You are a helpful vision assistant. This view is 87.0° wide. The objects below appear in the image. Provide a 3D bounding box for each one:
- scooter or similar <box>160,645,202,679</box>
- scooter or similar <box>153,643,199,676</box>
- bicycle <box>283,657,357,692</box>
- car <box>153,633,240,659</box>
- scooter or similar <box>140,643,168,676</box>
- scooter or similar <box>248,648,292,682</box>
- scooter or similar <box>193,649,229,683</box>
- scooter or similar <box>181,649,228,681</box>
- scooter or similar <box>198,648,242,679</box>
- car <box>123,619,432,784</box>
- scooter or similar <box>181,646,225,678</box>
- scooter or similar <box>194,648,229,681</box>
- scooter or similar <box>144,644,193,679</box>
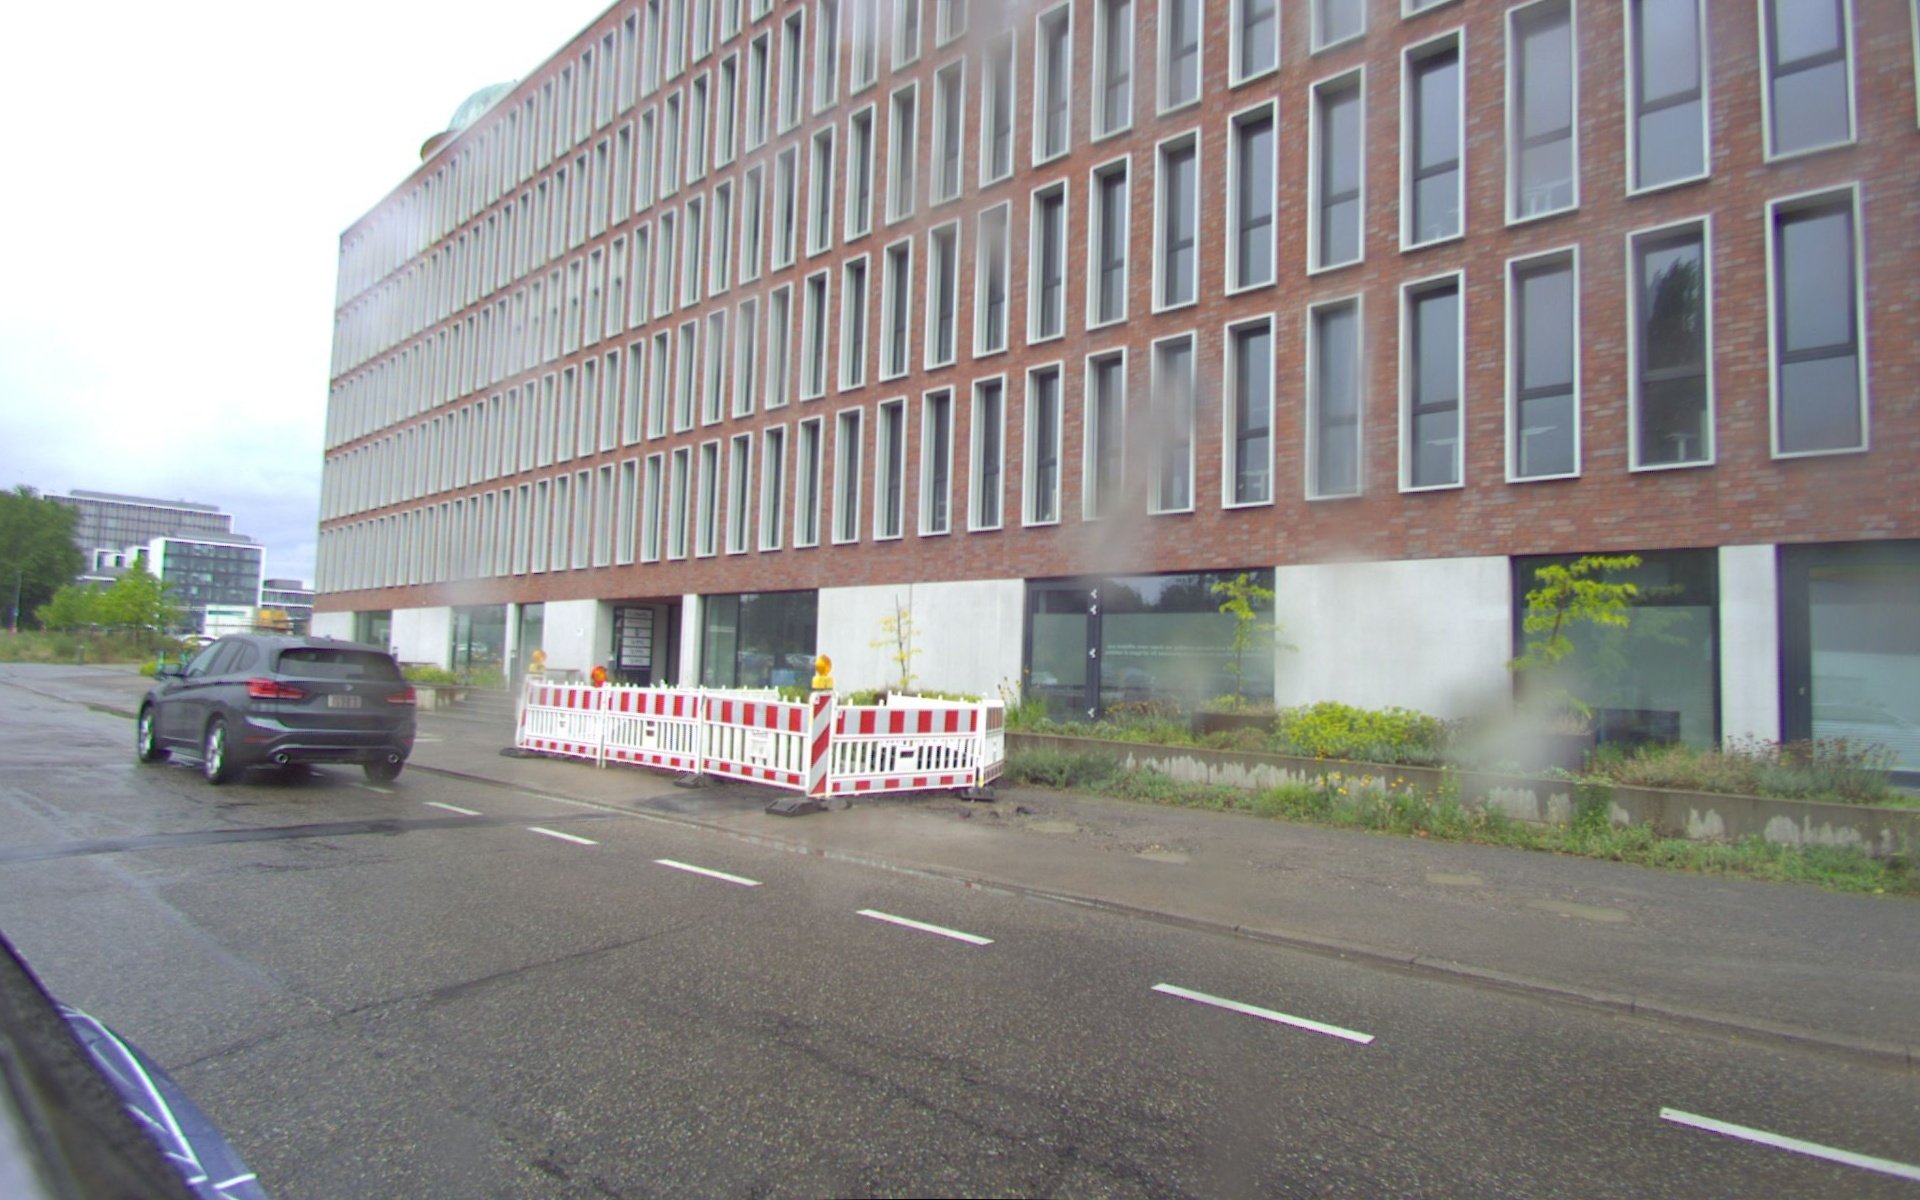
[{"bbox_3d":[-30.333,2.420,39.423,1.307,1.239,0.465,2,-4,12],"label":"scooter or similar"},{"bbox_3d":[-31.673,2.413,40.889,1.299,1.239,0.509,3,-4,-11],"label":"scooter or similar"},{"bbox_3d":[-20.837,2.426,32.974,0.620,1.085,1.929,-1,-3,38],"label":"bicycle"},{"bbox_3d":[-54.179,3.290,71.912,1.997,1.653,4.479,0,-4,37],"label":"car"},{"bbox_3d":[-31.663,2.335,39.771,1.318,1.239,0.461,-1,-5,37],"label":"scooter or similar"},{"bbox_3d":[-25.816,2.432,37.877,1.211,1.217,0.418,6,-6,-43],"label":"scooter or similar"},{"bbox_3d":[-28.051,2.469,37.910,0.460,1.217,1.210,3,-4,-8],"label":"scooter or similar"},{"bbox_3d":[-29.233,2.528,39.195,0.465,1.186,1.308,0,-5,28],"label":"scooter or similar"},{"bbox_3d":[-29.718,2.558,40.635,1.301,1.186,0.468,7,-6,-44],"label":"scooter or similar"},{"bbox_3d":[-7.987,1.102,11.709,4.146,1.581,1.742,-1,-7,40],"label":"car"},{"bbox_3d":[-30.411,2.494,40.665,1.301,1.186,0.468,7,-6,-44],"label":"scooter or similar"},{"bbox_3d":[-28.511,2.460,38.570,0.460,1.239,1.210,3,-4,-8],"label":"scooter or similar"},{"bbox_3d":[-29.753,2.328,38.050,1.298,1.239,0.469,4,-5,-21],"label":"scooter or similar"}]
